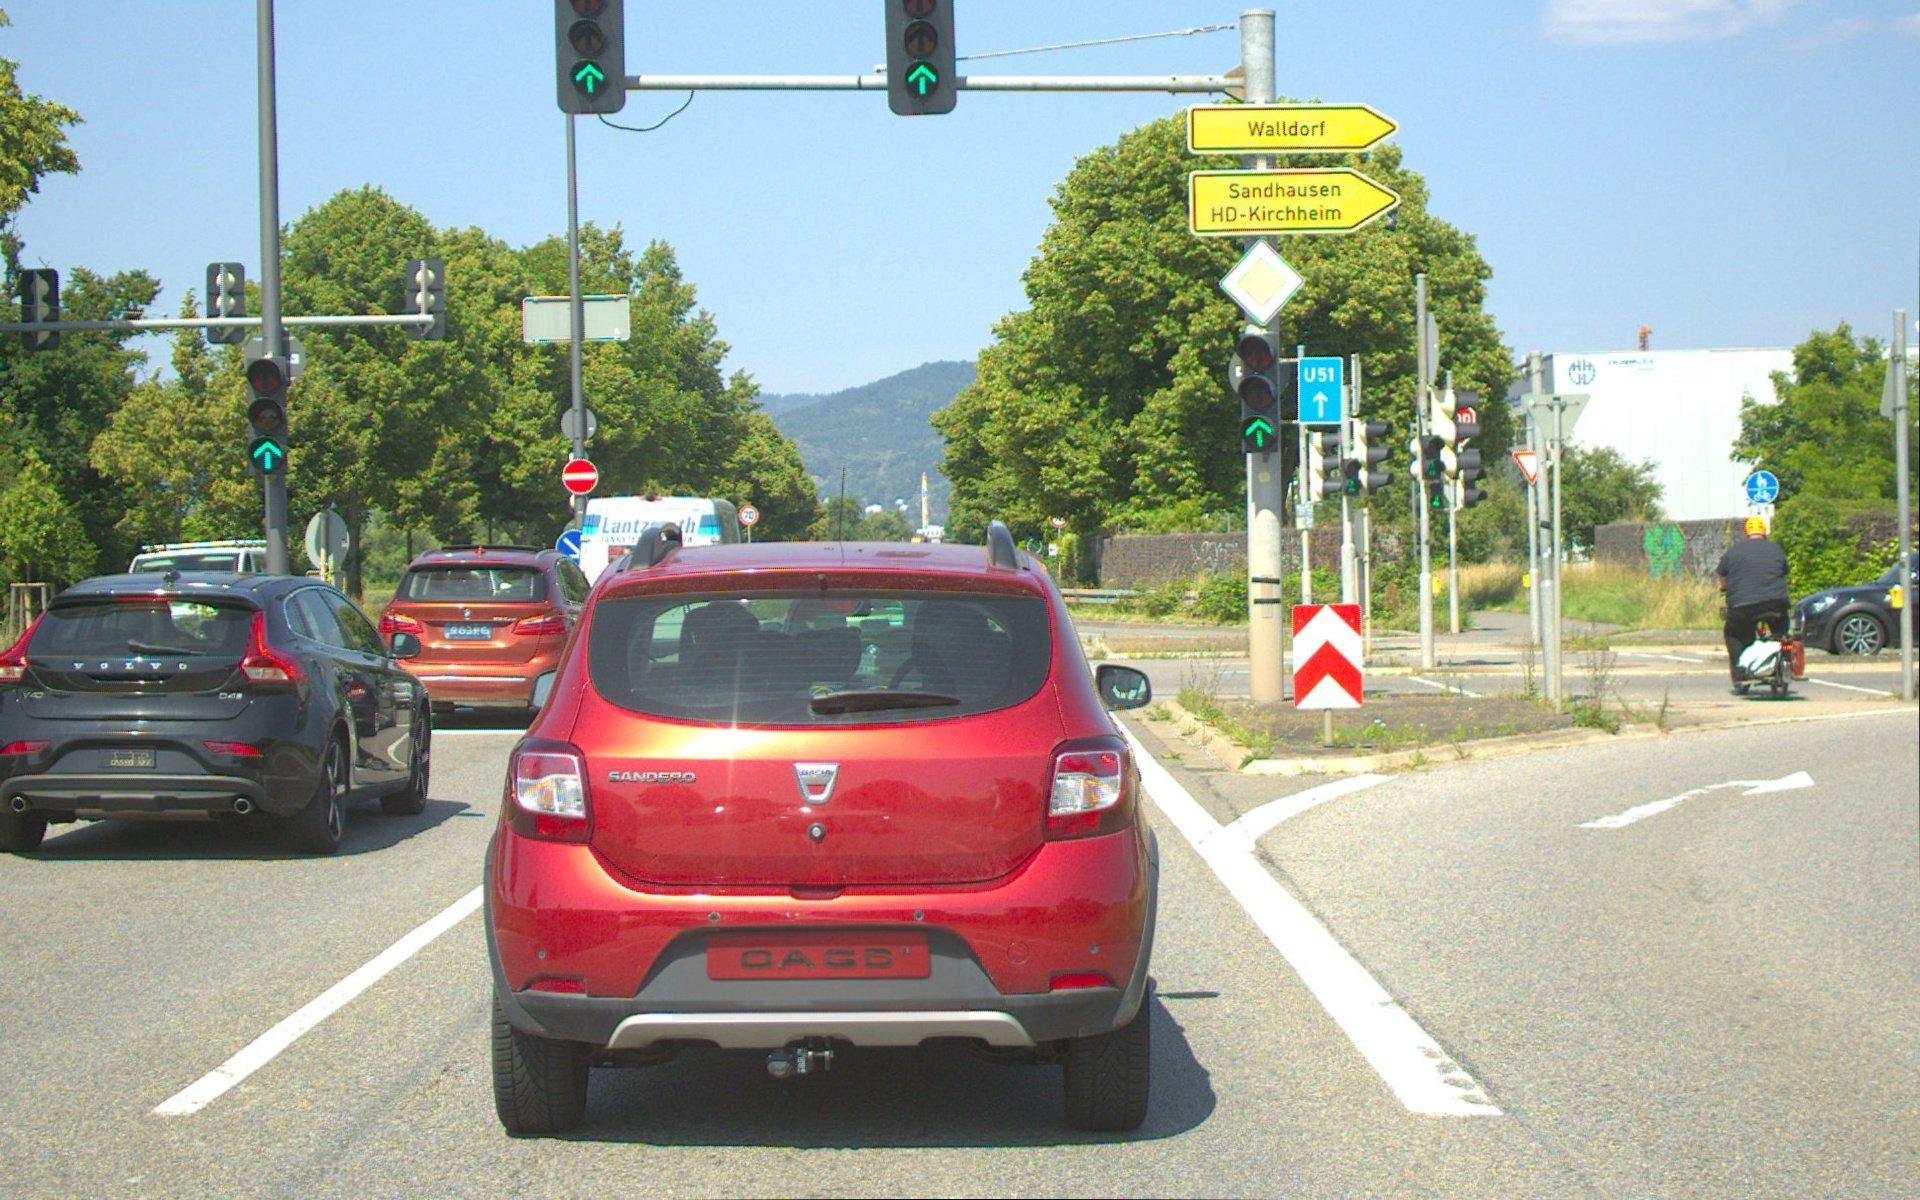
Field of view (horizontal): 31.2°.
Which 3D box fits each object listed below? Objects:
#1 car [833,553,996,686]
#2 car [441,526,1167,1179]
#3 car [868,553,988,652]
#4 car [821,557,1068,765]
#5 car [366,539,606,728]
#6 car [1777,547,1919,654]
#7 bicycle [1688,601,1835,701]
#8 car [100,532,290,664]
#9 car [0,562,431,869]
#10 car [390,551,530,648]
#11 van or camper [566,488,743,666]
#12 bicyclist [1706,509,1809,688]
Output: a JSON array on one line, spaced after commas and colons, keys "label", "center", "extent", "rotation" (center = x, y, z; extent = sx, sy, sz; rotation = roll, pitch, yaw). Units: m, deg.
[{"label": "car", "center": [-0.485, 0.188, 39.773], "extent": [1.749, 1.453, 3.676], "rotation": [0, 1, 1]}, {"label": "car", "center": [-0.336, 0.584, 10.118], "extent": [1.749, 1.570, 3.676], "rotation": [0, 1, 1]}, {"label": "car", "center": [-0.463, 0.014, 53.166], "extent": [1.749, 1.453, 3.676], "rotation": [0, 1, 1]}, {"label": "car", "center": [-0.071, 0.410, 26.239], "extent": [1.749, 1.453, 3.676], "rotation": [0, 1, 1]}, {"label": "car", "center": [-4.220, 0.251, 31.140], "extent": [1.724, 1.594, 3.956], "rotation": [0, 1, -2]}, {"label": "car", "center": [12.608, -0.020, 44.227], "extent": [3.989, 1.322, 1.805], "rotation": [-1, 1, 11]}, {"label": "bicycle", "center": [8.048, 0.494, 34.630], "extent": [0.761, 0.911, 2.780], "rotation": [-1, 1, -1]}, {"label": "car", "center": [-12.128, -0.071, 54.813], "extent": [1.993, 1.974, 5.016], "rotation": [-1, 1, -2]}, {"label": "car", "center": [-4.008, 0.533, 18.449], "extent": [1.702, 1.437, 3.955], "rotation": [0, 1, 0]}, {"label": "car", "center": [-9.139, -0.041, 63.100], "extent": [1.993, 1.664, 4.000], "rotation": [-1, 1, -1]}, {"label": "van or camper", "center": [-4.087, -0.334, 46.697], "extent": [2.179, 2.295, 4.827], "rotation": [0, 1, -3]}, {"label": "bicyclist", "center": [8.035, -0.022, 34.656], "extent": [0.802, 1.765, 0.809], "rotation": [-1, 1, -1]}]
